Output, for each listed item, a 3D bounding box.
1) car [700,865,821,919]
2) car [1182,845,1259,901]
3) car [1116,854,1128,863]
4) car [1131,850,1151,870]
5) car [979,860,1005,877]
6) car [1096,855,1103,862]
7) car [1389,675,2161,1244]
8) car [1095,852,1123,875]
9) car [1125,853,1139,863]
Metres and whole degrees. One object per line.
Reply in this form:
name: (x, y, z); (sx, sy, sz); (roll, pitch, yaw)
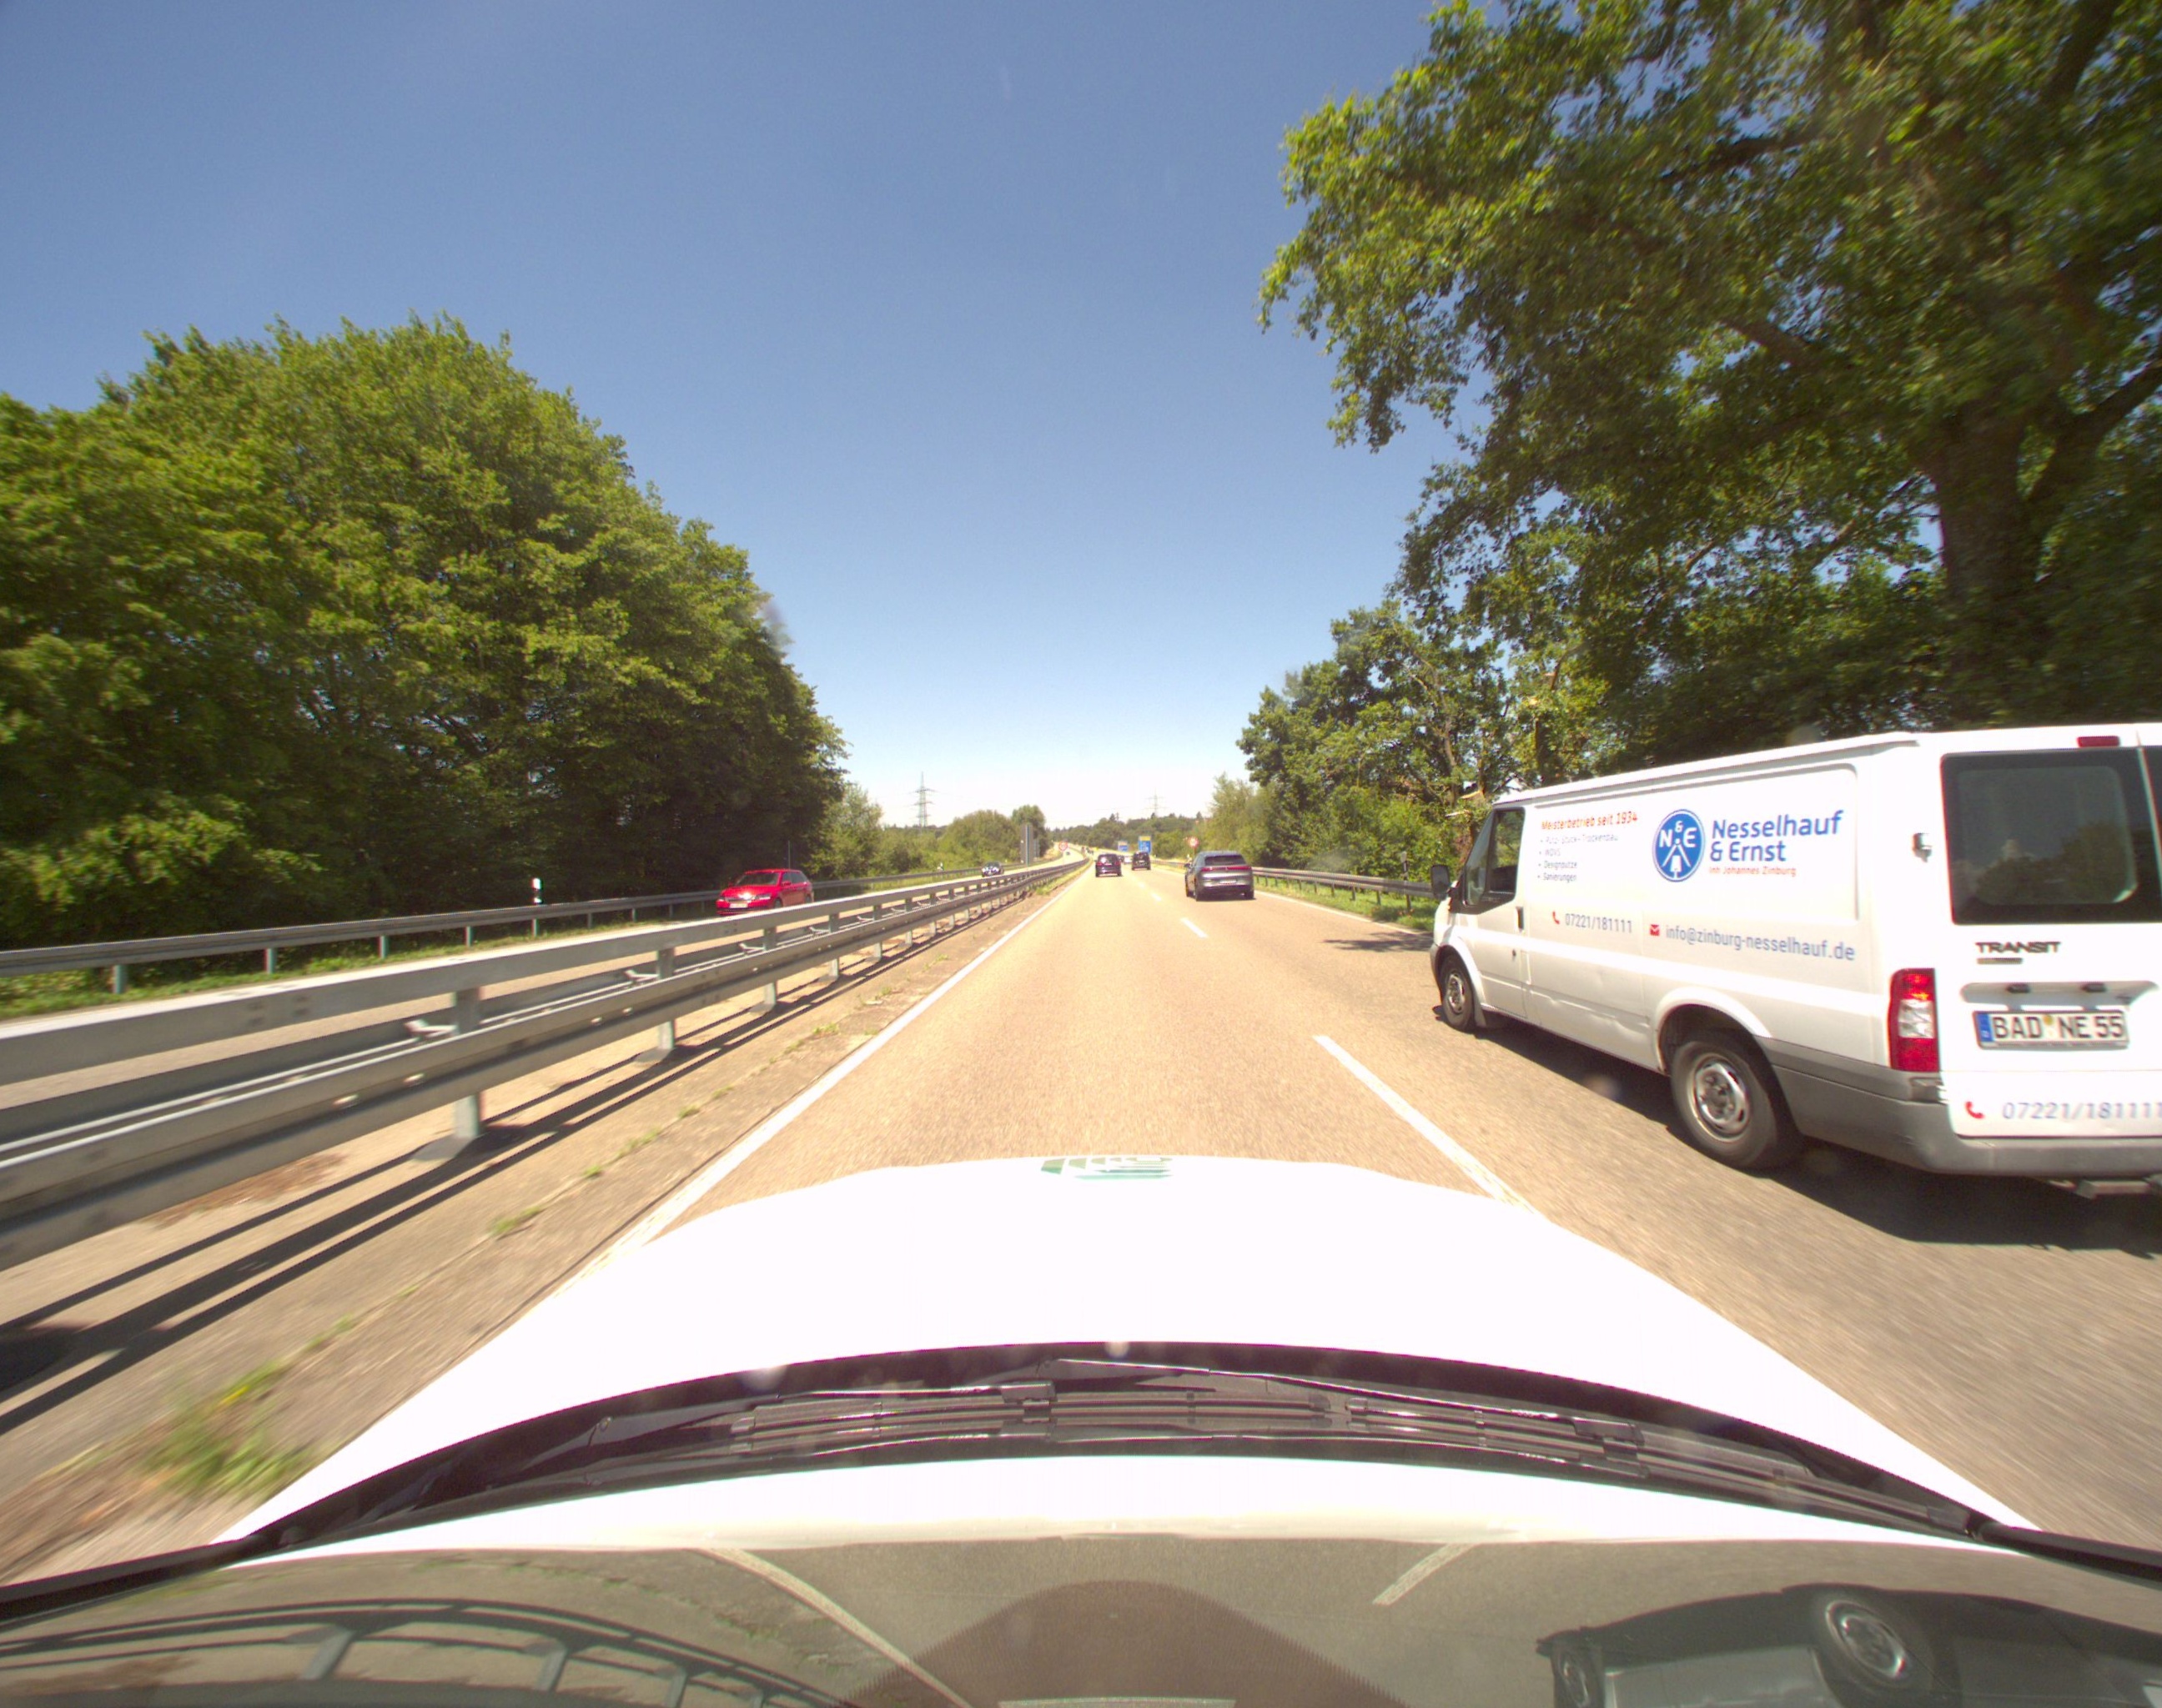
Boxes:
car: (-9.668, 1.083, 25.020); (1.769, 1.419, 4.576); (-2, 0, 1)
car: (4.416, 0.547, 26.338); (1.779, 1.553, 4.019); (-3, 1, 1)
car: (7.006, 0.795, 139.889); (1.813, 1.414, 4.001); (-2, 1, 1)
car: (5.975, 0.596, 81.360); (1.773, 1.816, 4.215); (-2, 1, 2)
car: (-8.091, 1.329, 74.427); (1.790, 1.468, 3.776); (0, 0, 2)
car: (4.025, 0.999, 176.841); (1.510, 1.475, 3.066); (1, 1, 0)
car: (3.997, 0.368, 5.424); (1.999, 1.989, 5.035); (-3, 0, 1)
car: (2.054, 0.695, 60.966); (1.987, 1.654, 3.999); (0, 0, 0)
car: (7.938, 0.569, 126.817); (1.773, 1.479, 4.315); (2, 0, 0)
